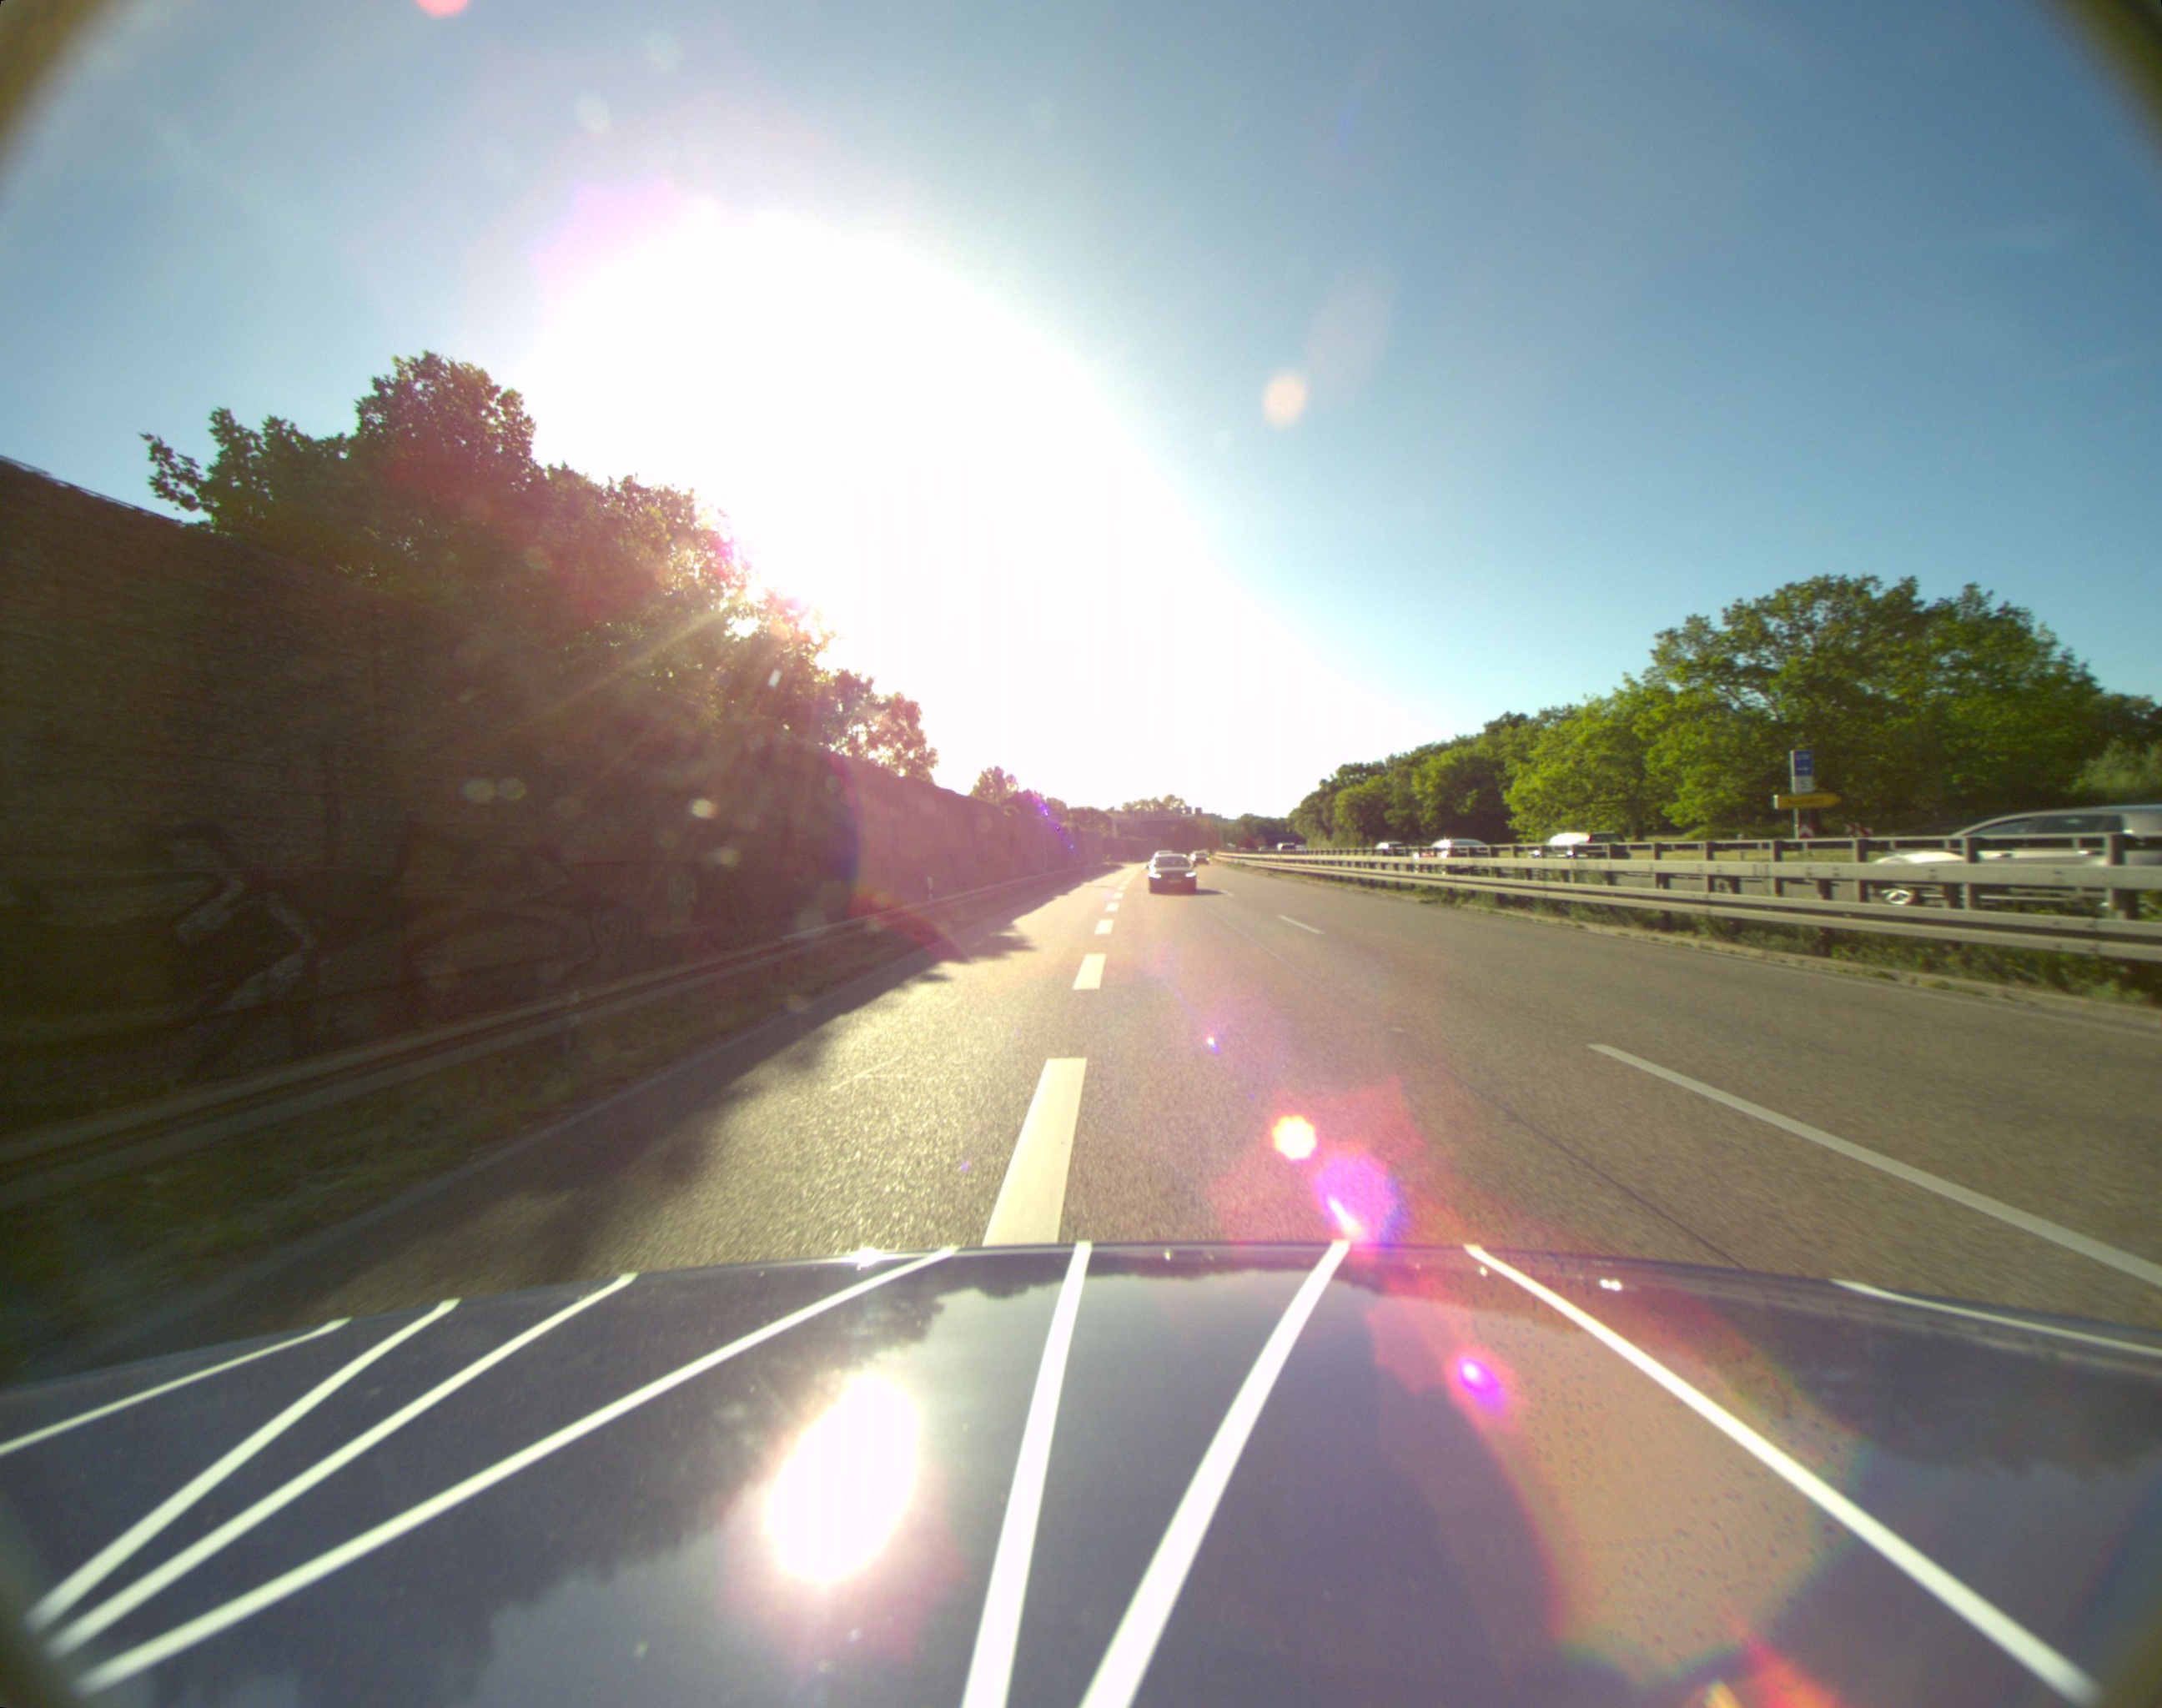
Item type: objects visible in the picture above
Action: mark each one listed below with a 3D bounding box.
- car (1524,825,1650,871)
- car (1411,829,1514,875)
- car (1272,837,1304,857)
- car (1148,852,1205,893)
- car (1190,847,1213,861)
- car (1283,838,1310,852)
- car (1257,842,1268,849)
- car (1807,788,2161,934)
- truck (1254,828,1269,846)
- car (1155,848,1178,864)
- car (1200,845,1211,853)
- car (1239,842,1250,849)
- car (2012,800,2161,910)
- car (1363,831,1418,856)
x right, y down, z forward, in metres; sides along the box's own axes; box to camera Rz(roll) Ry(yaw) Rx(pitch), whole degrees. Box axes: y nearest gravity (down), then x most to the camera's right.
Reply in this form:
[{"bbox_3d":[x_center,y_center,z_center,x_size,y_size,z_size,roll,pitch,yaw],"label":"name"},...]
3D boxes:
[{"bbox_3d":[20.493,-0.238,31.105,1.998,1.631,5.028,-4,0,4],"label":"car"},{"bbox_3d":[14.875,-0.094,29.964,1.998,1.631,4.722,-1,0,4],"label":"car"},{"bbox_3d":[19.537,-0.661,71.964,1.998,1.631,4.722,-4,0,4],"label":"car"},{"bbox_3d":[3.724,0.656,30.107,1.998,1.406,4.832,-2,0,6],"label":"car"},{"bbox_3d":[13.313,-0.052,84.107,1.998,1.406,4.832,-4,0,4],"label":"car"},{"bbox_3d":[24.648,-0.982,87.013,1.998,1.406,4.832,-4,0,4],"label":"car"},{"bbox_3d":[38.443,-1.816,160.790,1.997,1.406,4.834,-4,0,10],"label":"car"},{"bbox_3d":[13.277,0.012,10.573,1.998,1.631,4.722,-4,0,4],"label":"car"},{"bbox_3d":[47.587,-4.522,200.485,3.171,4.394,8.025,-5,0,12],"label":"truck"},{"bbox_3d":[8.542,0.157,76.080,1.998,1.406,4.832,-4,0,4],"label":"car"},{"bbox_3d":[24.699,-0.949,150.982,1.997,1.406,4.834,-4,0,11],"label":"car"},{"bbox_3d":[36.044,-1.793,167.661,1.997,1.406,4.834,-4,0,10],"label":"car"},{"bbox_3d":[17.304,-0.027,10.994,1.998,1.631,4.722,-4,0,4],"label":"car"},{"bbox_3d":[20.610,-0.671,50.864,1.998,1.469,4.722,-4,0,4],"label":"car"}]
